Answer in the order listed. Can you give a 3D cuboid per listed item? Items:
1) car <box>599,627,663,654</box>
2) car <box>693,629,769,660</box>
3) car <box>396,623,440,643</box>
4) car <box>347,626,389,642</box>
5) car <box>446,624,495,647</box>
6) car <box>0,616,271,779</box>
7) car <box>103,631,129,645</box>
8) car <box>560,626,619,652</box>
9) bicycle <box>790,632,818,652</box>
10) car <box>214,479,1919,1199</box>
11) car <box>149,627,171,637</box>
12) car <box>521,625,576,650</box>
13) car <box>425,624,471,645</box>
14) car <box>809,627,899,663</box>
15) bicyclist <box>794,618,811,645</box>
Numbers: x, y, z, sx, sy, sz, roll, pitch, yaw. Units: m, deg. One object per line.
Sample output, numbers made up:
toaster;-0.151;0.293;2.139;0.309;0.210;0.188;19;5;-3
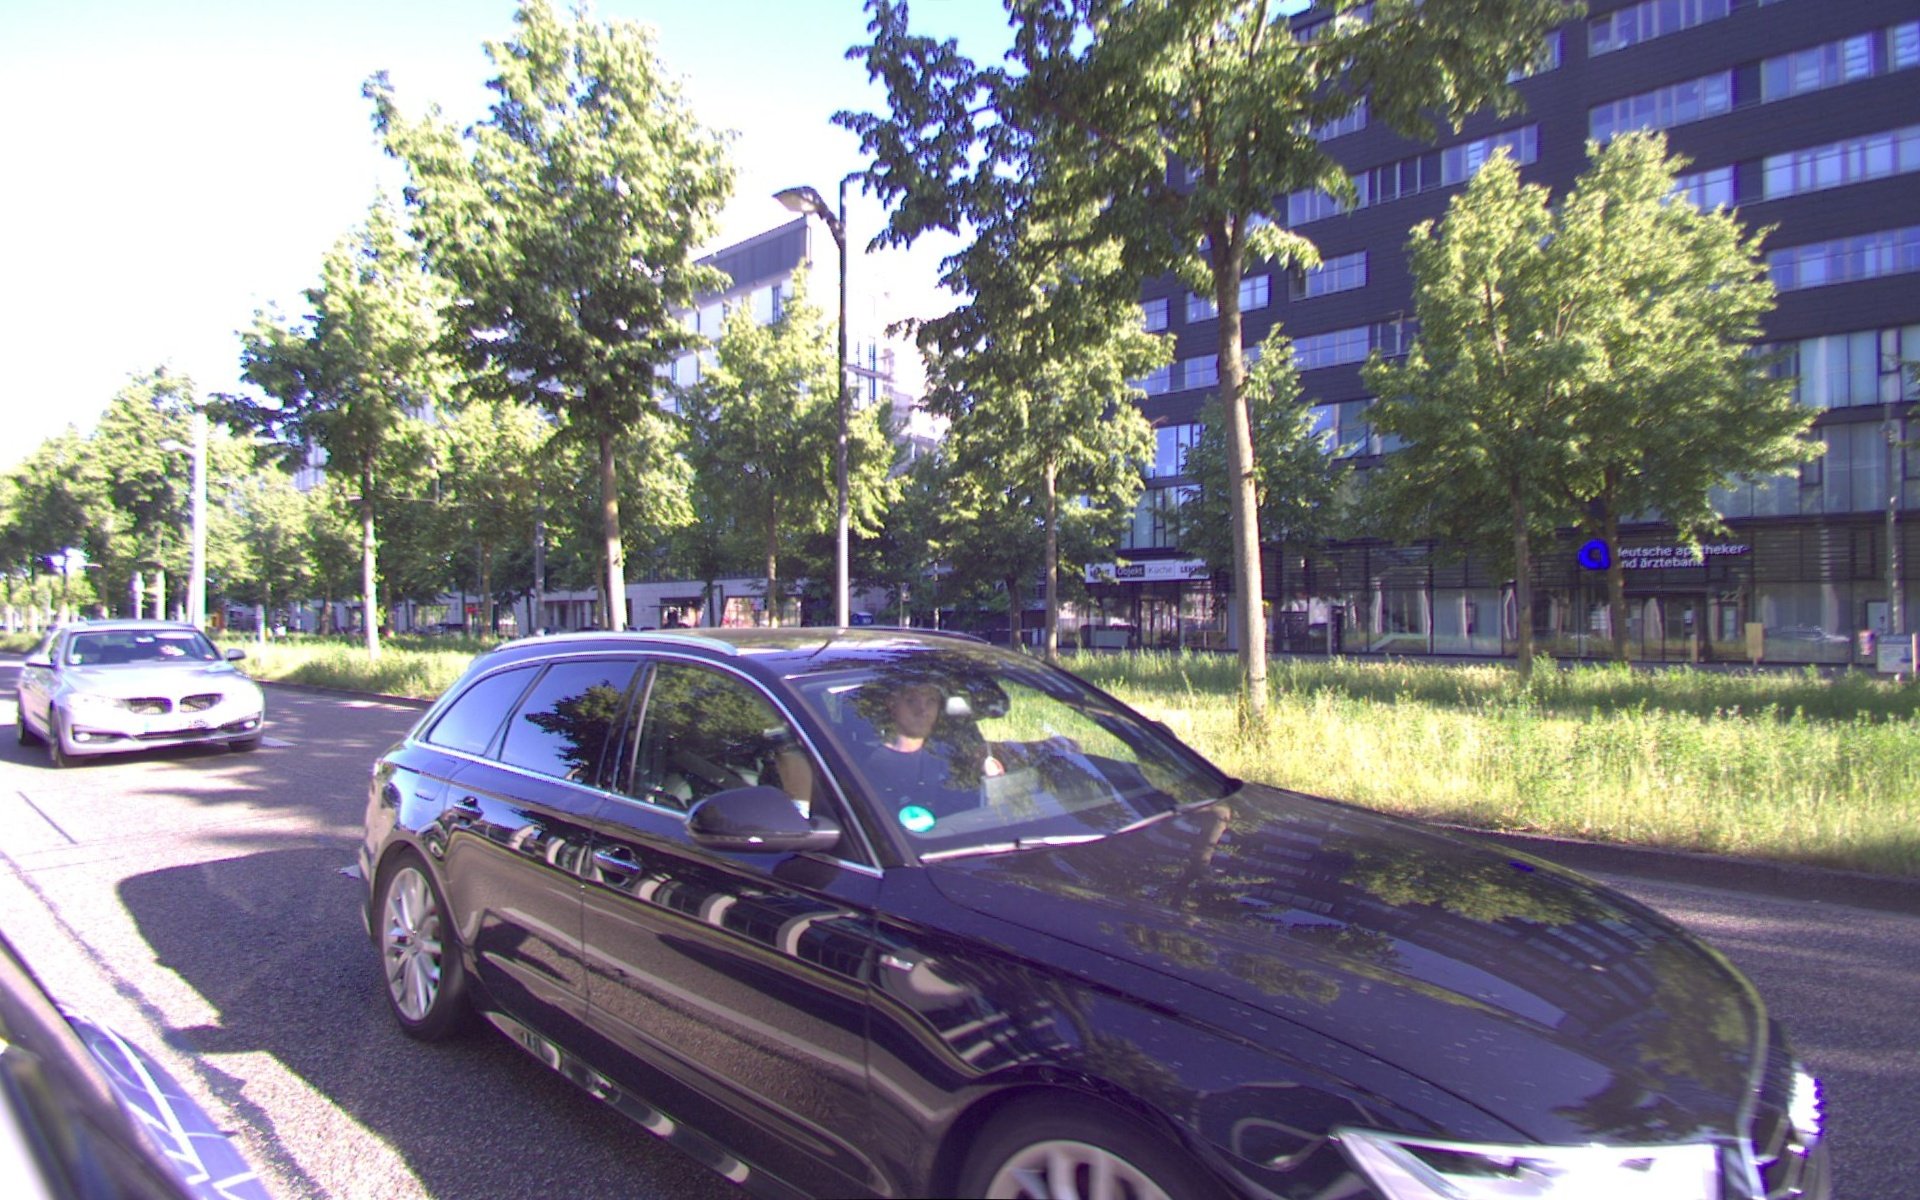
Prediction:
car;-20.114;2.454;61.804;4.181;1.610;1.859;-1;-2;41
car;-12.368;2.351;54.448;4.181;1.610;1.926;-1;-2;41
car;-44.903;2.754;83.810;4.181;1.610;1.859;-1;-2;41
car;-53.490;3.020;91.427;3.995;1.406;1.974;-1;-2;39
car;-36.981;2.663;76.413;4.181;1.610;1.859;-1;-2;41
car;-9.587;0.946;11.473;4.558;1.495;1.800;-1;-2;40
car;-102.564;4.636;123.003;3.998;1.694;1.870;-1;-2;41
car;-24.003;2.496;65.503;4.181;1.610;1.859;-1;-2;41
bicycle;-8.506;2.264;55.044;1.755;1.043;0.472;-1;-2;41
car;-0.363;0.697;2.985;4.963;1.495;1.855;-1;-2;40
car;-112.990;4.490;142.880;4.001;1.406;1.971;-2;-2;44
car;-28.034;2.547;68.912;4.181;1.610;1.859;-1;-2;41
car;-40.445;2.699;79.917;4.181;1.610;1.859;-1;-2;41
car;-5.056;2.106;47.849;4.181;1.610;1.926;-1;-2;41
bicyclist;-8.577;1.708;55.117;0.820;1.435;0.472;-1;-2;41
